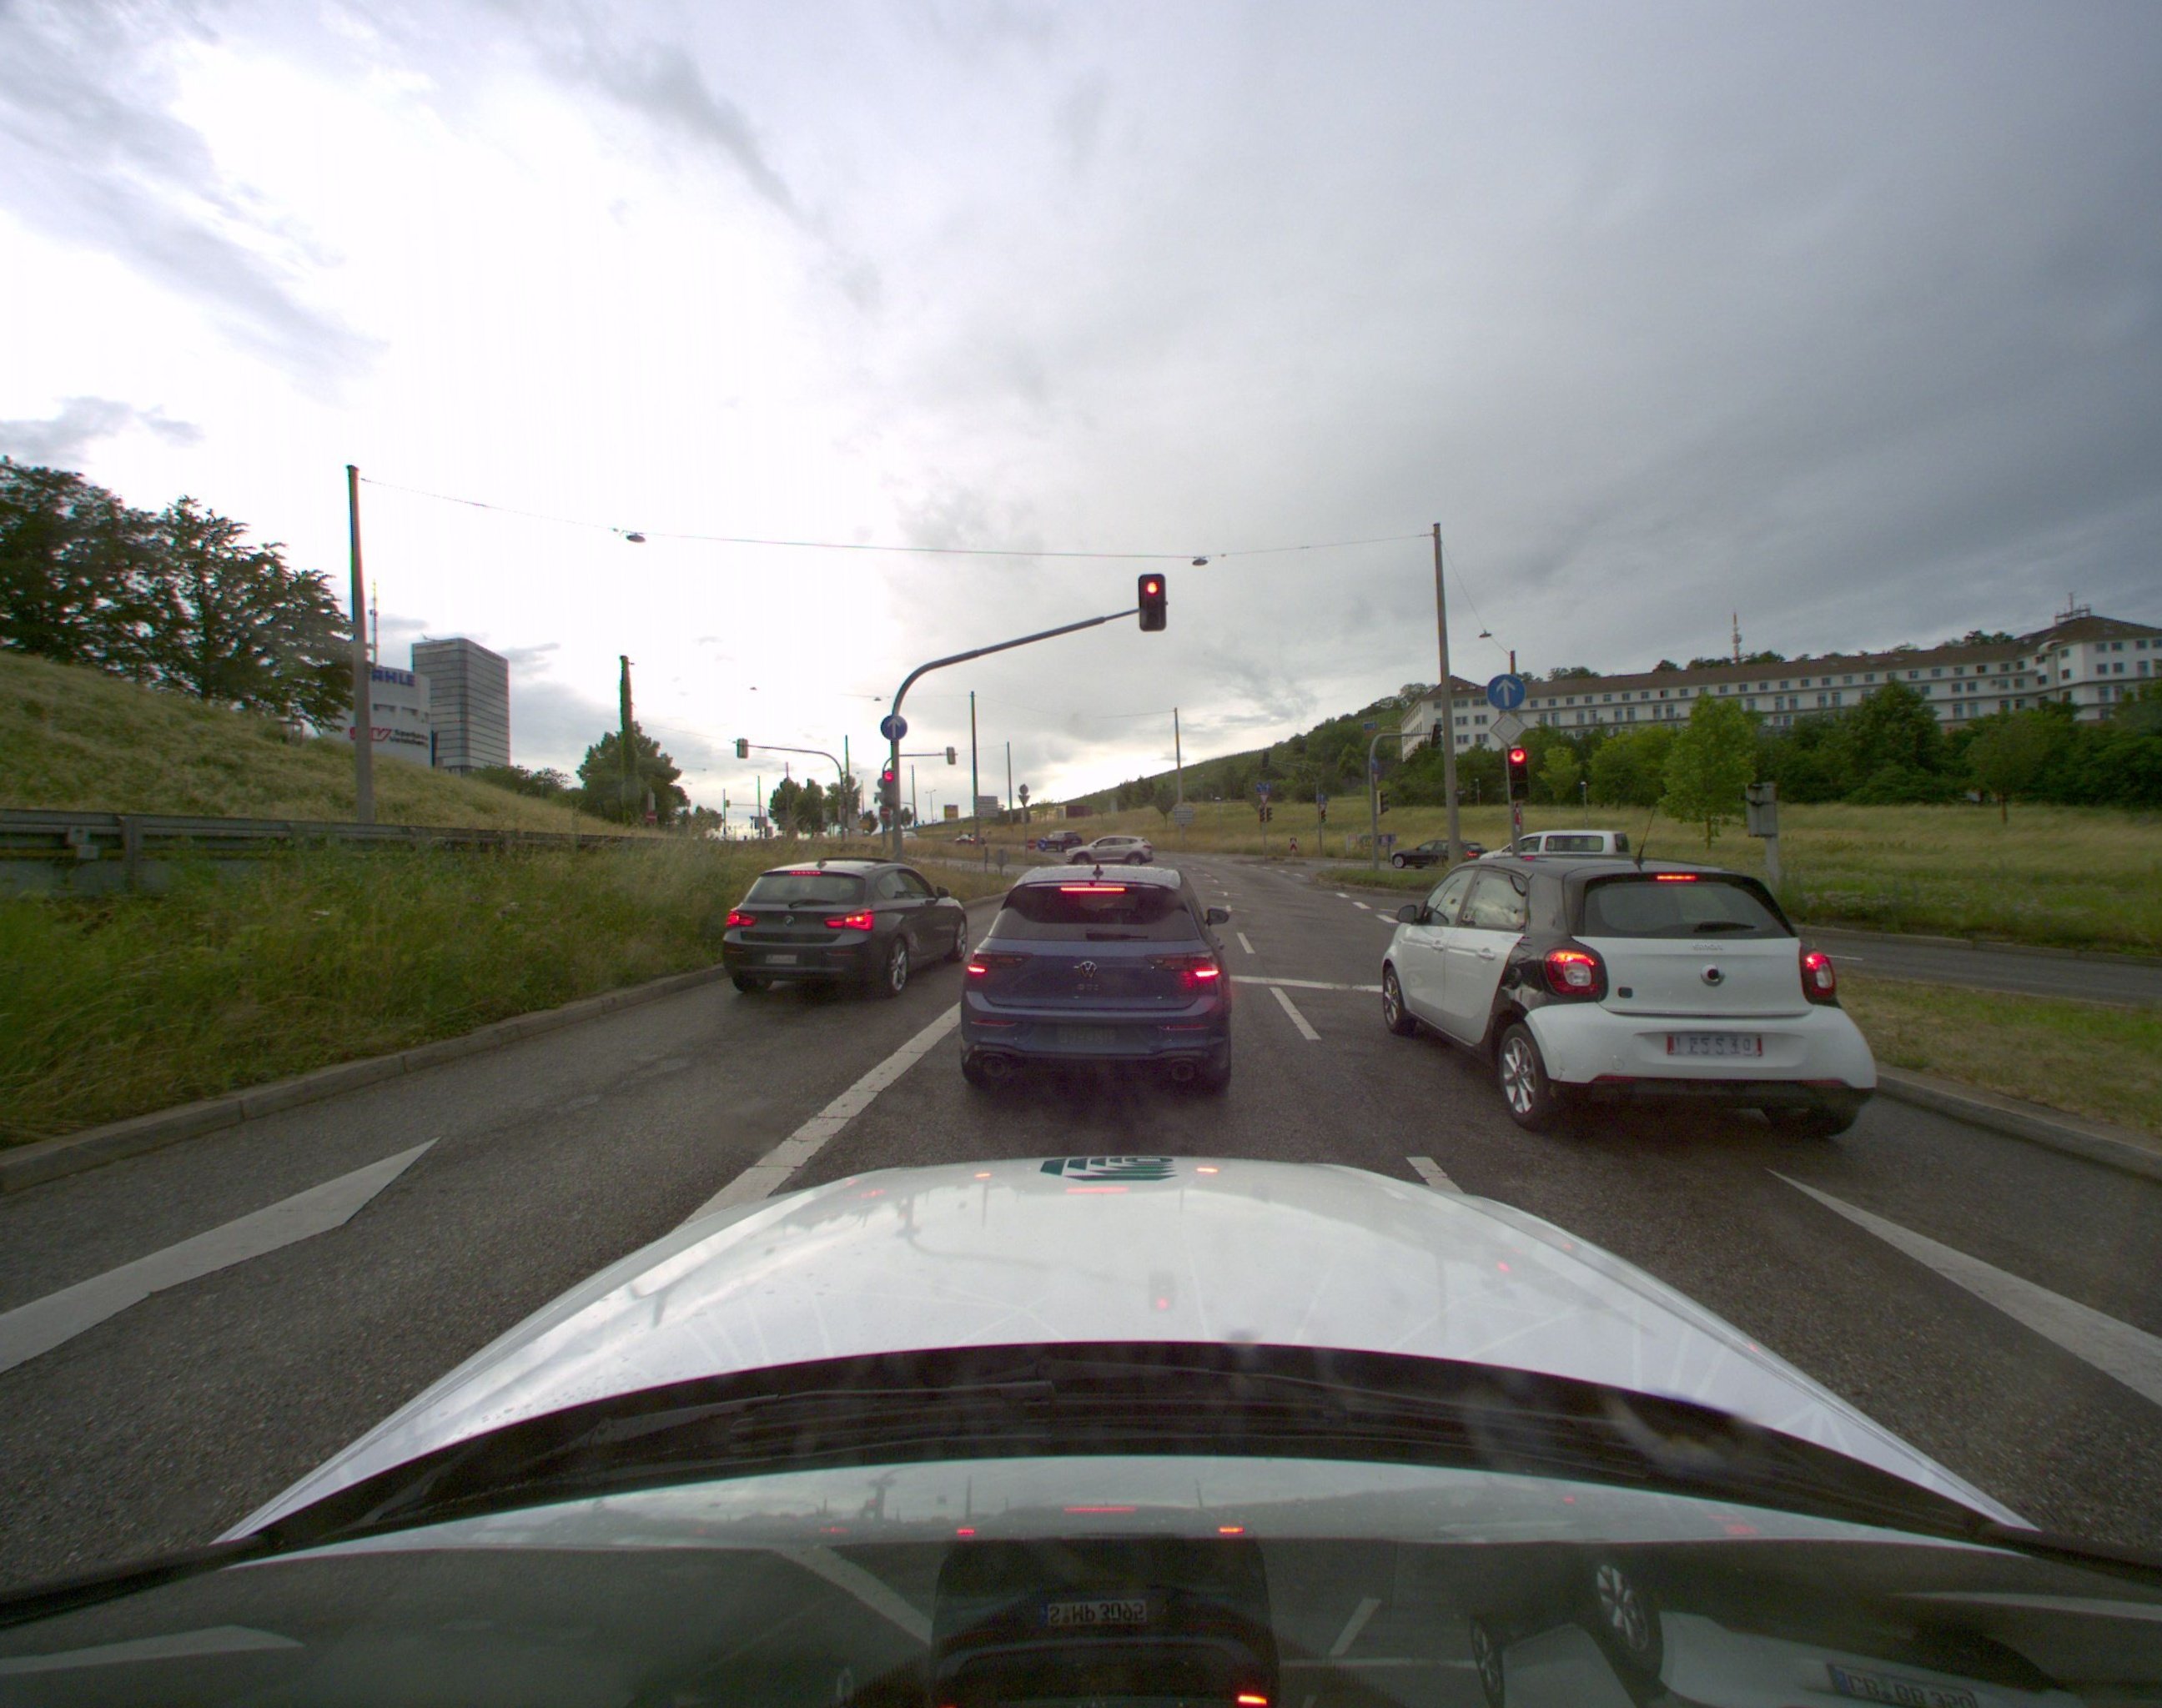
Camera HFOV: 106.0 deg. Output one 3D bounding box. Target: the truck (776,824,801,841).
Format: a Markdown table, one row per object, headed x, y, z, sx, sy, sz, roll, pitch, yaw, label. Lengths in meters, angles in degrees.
| x | y | z | sx | sy | sz | roll | pitch | yaw | label |
| --- | --- | --- | --- | --- | --- | --- | --- | --- | --- |
| -59.240 | -4.356 | 165.005 | 3.281 | 3.074 | 6.111 | 2 | 0 | -35 | truck |

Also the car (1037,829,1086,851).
| x | y | z | sx | sy | sz | roll | pitch | yaw | label |
| --- | --- | --- | --- | --- | --- | --- | --- | --- | --- |
| -1.645 | -1.096 | 66.780 | 2.008 | 1.637 | 4.373 | 0 | -1 | -35 | car |

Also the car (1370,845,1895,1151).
| x | y | z | sx | sy | sz | roll | pitch | yaw | label |
| --- | --- | --- | --- | --- | --- | --- | --- | --- | --- |
| 3.352 | 0.740 | 5.809 | 1.649 | 1.503 | 3.456 | -1 | -1 | 6 | car |

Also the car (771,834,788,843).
| x | y | z | sx | sy | sz | roll | pitch | yaw | label |
| --- | --- | --- | --- | --- | --- | --- | --- | --- | --- |
| -57.788 | -2.930 | 156.046 | 2.008 | 1.659 | 4.308 | 0 | -1 | -33 | car |

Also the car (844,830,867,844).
| x | y | z | sx | sy | sz | roll | pitch | yaw | label |
| --- | --- | --- | --- | --- | --- | --- | --- | --- | --- |
| -34.113 | -2.551 | 123.014 | 2.143 | 1.794 | 4.692 | 0 | -1 | -32 | car |

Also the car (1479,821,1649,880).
| x | y | z | sx | sy | sz | roll | pitch | yaw | label |
| --- | --- | --- | --- | --- | --- | --- | --- | --- | --- |
| 16.388 | -0.068 | 27.838 | 1.831 | 1.850 | 4.644 | 0 | -1 | -39 | car |

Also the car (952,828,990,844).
| x | y | z | sx | sy | sz | roll | pitch | yaw | label |
| --- | --- | --- | --- | --- | --- | --- | --- | --- | --- |
| -11.120 | -1.802 | 82.210 | 2.008 | 1.477 | 4.455 | 0 | -1 | -33 | car |

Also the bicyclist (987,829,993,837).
| x | y | z | sx | sy | sz | roll | pitch | yaw | label |
| --- | --- | --- | --- | --- | --- | --- | --- | --- | --- |
| -12.145 | -2.829 | 109.082 | 0.527 | 1.046 | 0.574 | 2 | 0 | -33 | bicyclist |

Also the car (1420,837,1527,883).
| x | y | z | sx | sy | sz | roll | pitch | yaw | label |
| --- | --- | --- | --- | --- | --- | --- | --- | --- | --- |
| 18.014 | 0.309 | 37.542 | 2.010 | 2.014 | 3.954 | 0 | -1 | -38 | car |

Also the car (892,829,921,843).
| x | y | z | sx | sy | sz | roll | pitch | yaw | label |
| --- | --- | --- | --- | --- | --- | --- | --- | --- | --- |
| -21.196 | -2.188 | 98.729 | 2.008 | 1.477 | 4.374 | 0 | -1 | -34 | car |

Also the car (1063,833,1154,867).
| x | y | z | sx | sy | sz | roll | pitch | yaw | label |
| --- | --- | --- | --- | --- | --- | --- | --- | --- | --- |
| 1.438 | -0.190 | 41.459 | 4.487 | 1.620 | 2.003 | -1 | -1 | 6 | car |

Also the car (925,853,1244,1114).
| x | y | z | sx | sy | sz | roll | pitch | yaw | label |
| --- | --- | --- | --- | --- | --- | --- | --- | --- | --- |
| 0.242 | 0.735 | 6.545 | 1.815 | 1.460 | 3.816 | -1 | 0 | 7 | car |

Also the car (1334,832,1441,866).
| x | y | z | sx | sy | sz | roll | pitch | yaw | label |
| --- | --- | --- | --- | --- | --- | --- | --- | --- | --- |
| 15.431 | -0.278 | 41.249 | 2.008 | 1.618 | 4.801 | 1 | 0 | -34 | car |

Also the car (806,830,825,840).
| x | y | z | sx | sy | sz | roll | pitch | yaw | label |
| --- | --- | --- | --- | --- | --- | --- | --- | --- | --- |
| -46.585 | -3.349 | 142.979 | 2.008 | 1.659 | 4.497 | 0 | -1 | -33 | car |

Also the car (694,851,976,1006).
| x | y | z | sx | sy | sz | roll | pitch | yaw | label |
| --- | --- | --- | --- | --- | --- | --- | --- | --- | --- |
| -2.654 | 0.721 | 9.911 | 1.693 | 1.459 | 4.123 | -1 | 0 | 7 | car |

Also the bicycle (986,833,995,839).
| x | y | z | sx | sy | sz | roll | pitch | yaw | label |
| --- | --- | --- | --- | --- | --- | --- | --- | --- | --- |
| -12.125 | -2.466 | 109.024 | 0.521 | 0.775 | 1.605 | 2 | 0 | -31 | bicycle |
